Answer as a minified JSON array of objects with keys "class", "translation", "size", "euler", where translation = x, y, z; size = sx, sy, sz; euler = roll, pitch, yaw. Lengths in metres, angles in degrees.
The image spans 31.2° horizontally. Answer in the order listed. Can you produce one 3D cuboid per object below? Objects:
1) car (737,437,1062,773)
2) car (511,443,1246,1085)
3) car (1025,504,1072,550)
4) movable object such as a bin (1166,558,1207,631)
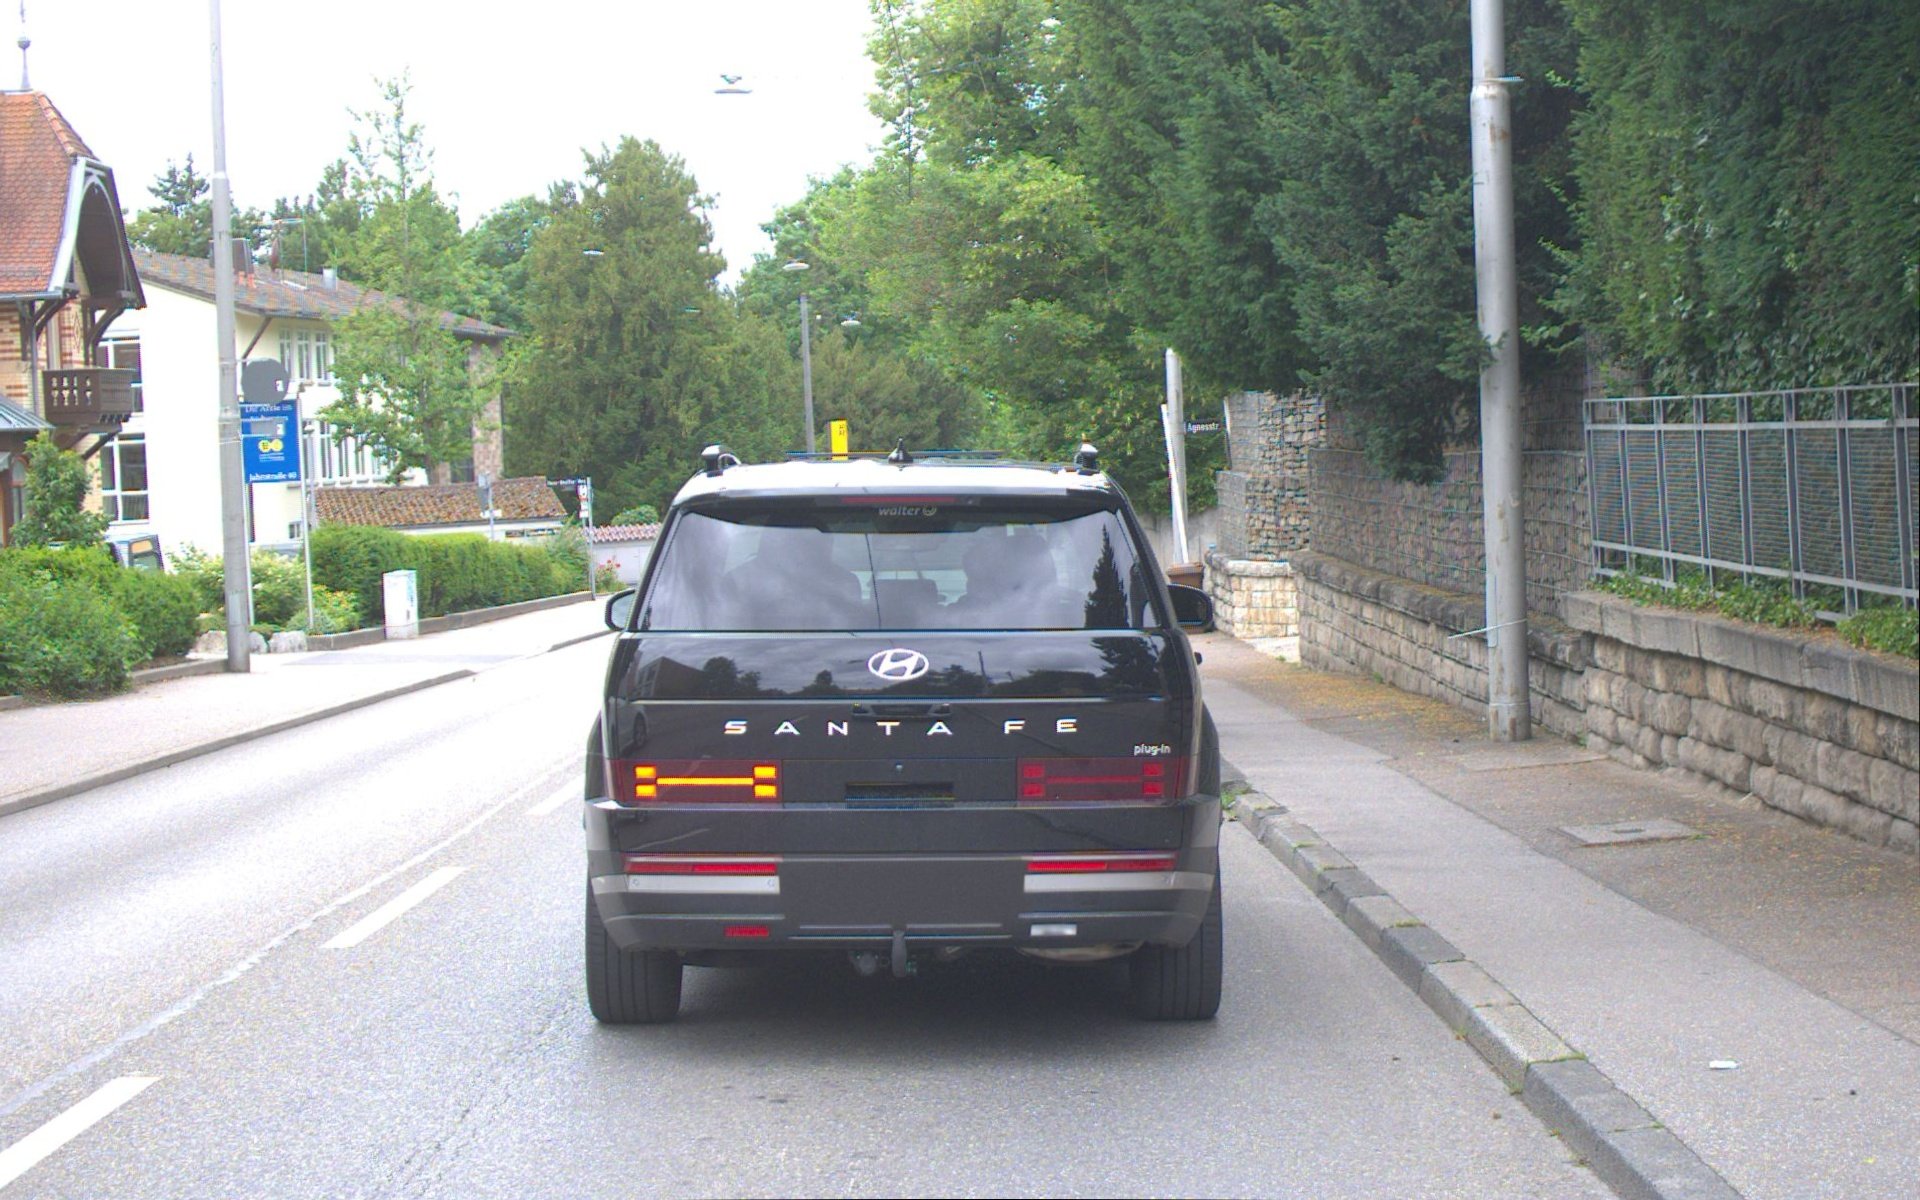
[{"class":"car","translation":[-0.453,-0.063,23.160],"size":[1.957,1.949,4.224],"euler":[1,4,-2]},{"class":"car","translation":[-0.219,0.382,11.308],"size":[1.957,1.707,4.224],"euler":[0,2,0]},{"class":"car","translation":[3.384,-2.775,131.509],"size":[1.645,1.555,3.649],"euler":[-2,-1,3]},{"class":"movable object such as a bin","translation":[2.919,-0.073,44.273],"size":[0.445,0.906,0.394],"euler":[-3,1,9]}]
